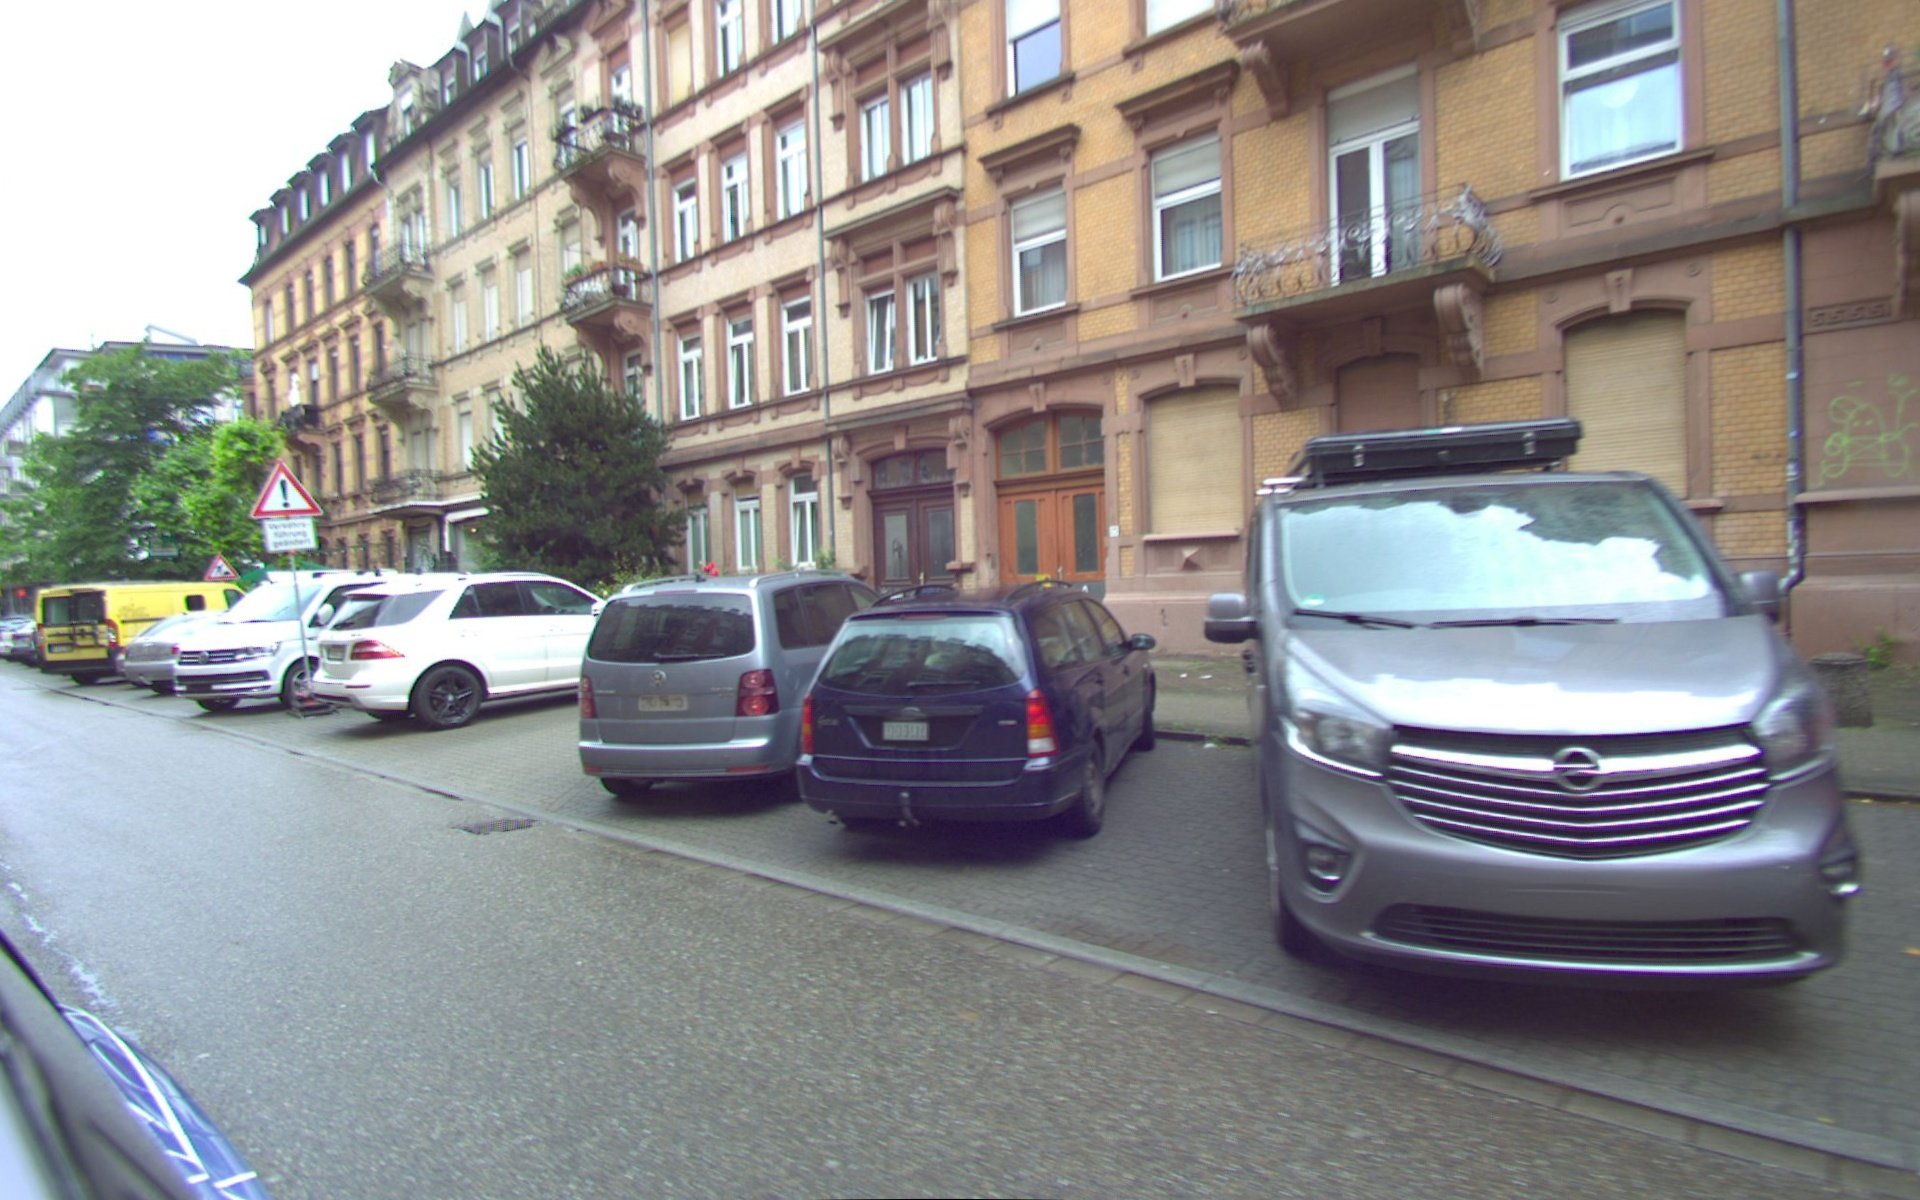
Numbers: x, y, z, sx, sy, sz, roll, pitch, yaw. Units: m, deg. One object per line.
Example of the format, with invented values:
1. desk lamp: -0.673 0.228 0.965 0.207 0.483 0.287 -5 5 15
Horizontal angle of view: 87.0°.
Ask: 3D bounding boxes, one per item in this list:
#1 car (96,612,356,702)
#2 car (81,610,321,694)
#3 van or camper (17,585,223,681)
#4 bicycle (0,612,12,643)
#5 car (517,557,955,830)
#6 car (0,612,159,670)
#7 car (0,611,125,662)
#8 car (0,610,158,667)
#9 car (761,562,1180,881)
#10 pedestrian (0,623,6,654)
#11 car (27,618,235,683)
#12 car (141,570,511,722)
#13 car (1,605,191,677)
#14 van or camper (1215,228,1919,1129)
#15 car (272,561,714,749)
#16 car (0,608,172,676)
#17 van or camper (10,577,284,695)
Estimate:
1. car: -14.306 1.049 20.028 1.766 1.446 3.985 -2 1 12
2. car: -16.361 1.062 22.085 1.942 1.506 3.907 -2 1 10
3. van or camper: -23.143 0.839 28.104 1.915 2.255 4.075 -1 3 9
4. bicycle: -37.676 1.081 39.142 1.665 1.152 0.585 -2 1 13
5. car: -1.525 0.546 8.771 1.827 1.642 4.426 -3 3 15
6. car: -29.697 1.323 34.122 1.779 1.504 4.132 -1 3 6
7. car: -35.223 1.380 39.117 1.975 1.575 4.453 -1 3 4
8. car: -31.575 1.325 35.970 1.976 1.574 4.717 -4 2 7
9. car: 0.449 0.562 7.306 1.741 1.515 4.332 -3 2 18
10. pedestrian: -58.734 2.335 61.769 0.595 1.862 0.770 -3 1 -41
11. car: -21.180 1.235 26.097 1.806 1.506 3.989 -2 -1 9
12. car: -10.044 0.578 16.684 1.854 2.094 5.226 -1 1 16
13. car: -25.258 1.151 29.807 1.778 1.674 4.134 -1 3 5
14. van or camper: 2.575 0.178 5.235 2.323 2.367 5.002 -2 1 15
15. car: -5.901 0.542 13.229 2.543 1.798 4.534 -2 3 40
16. car: -27.556 1.255 31.980 1.778 1.674 4.134 -2 3 5
17. van or camper: -18.867 0.717 23.855 2.160 2.284 4.716 -3 2 8
